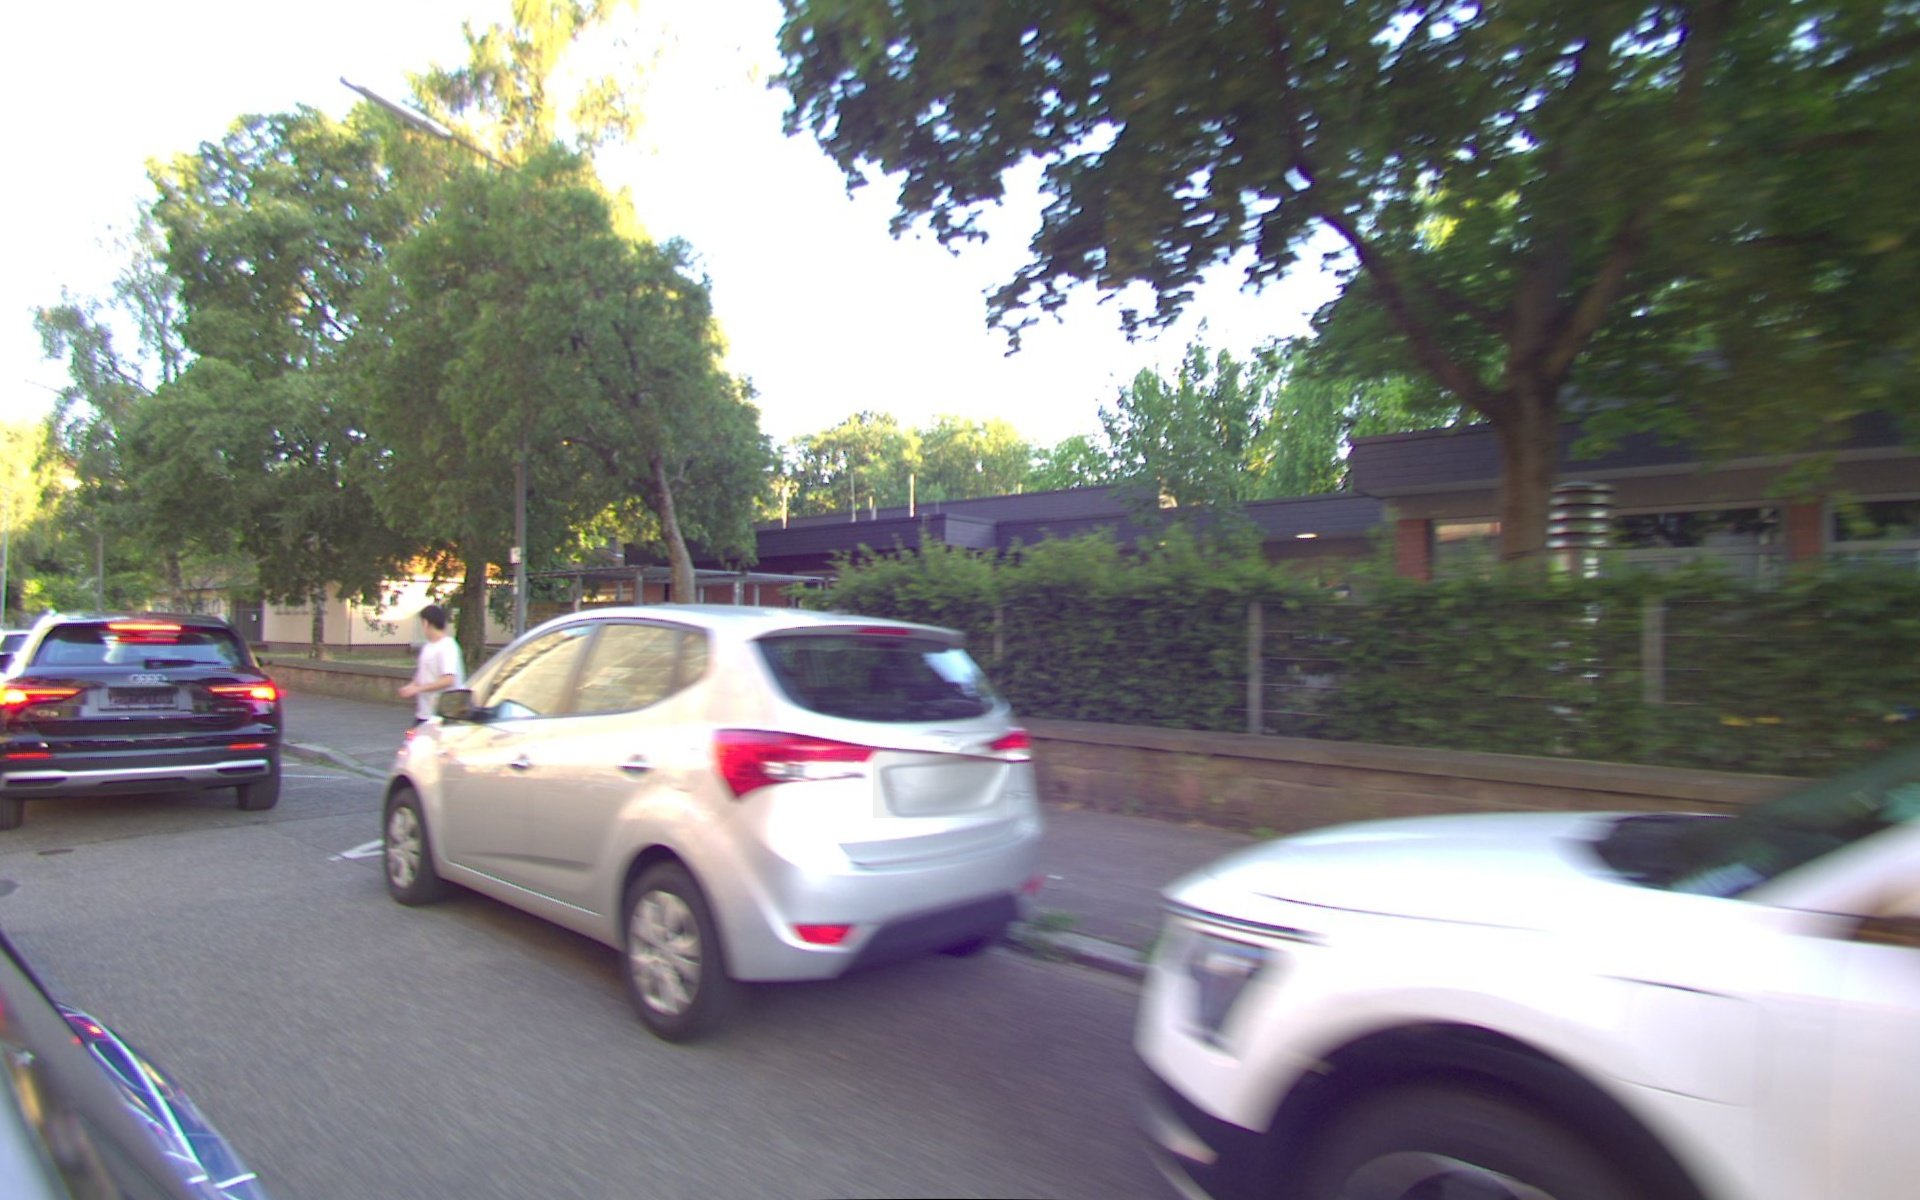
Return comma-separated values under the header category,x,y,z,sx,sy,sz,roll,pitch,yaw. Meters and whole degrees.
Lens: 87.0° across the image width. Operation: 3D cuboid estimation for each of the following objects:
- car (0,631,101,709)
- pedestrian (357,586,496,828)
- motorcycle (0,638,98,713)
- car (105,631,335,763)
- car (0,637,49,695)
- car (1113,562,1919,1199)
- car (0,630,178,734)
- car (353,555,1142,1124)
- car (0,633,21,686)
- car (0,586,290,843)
category,x,y,z,sx,sy,sz,roll,pitch,yaw
car,-18.813,1.363,20.337,3.802,1.436,1.716,-1,-4,40
pedestrian,-4.032,0.759,7.664,0.557,1.715,0.739,-1,0,37
motorcycle,-16.614,1.341,18.234,0.785,1.268,1.575,-1,-2,43
car,-9.440,1.135,12.835,3.414,1.436,1.602,-2,-4,41
car,-23.113,1.532,23.979,3.802,1.297,1.716,-1,-4,40
car,2.533,0.752,1.507,4.275,1.555,1.742,-1,-4,38
car,-13.988,1.228,16.096,3.803,1.457,1.715,-2,-4,41
car,-1.285,0.771,4.929,3.979,1.644,1.715,-2,-4,42
car,-26.839,1.567,27.306,3.802,1.377,1.716,-1,-4,40
car,-7.036,0.816,8.471,1.712,1.644,4.130,4,-4,-42
